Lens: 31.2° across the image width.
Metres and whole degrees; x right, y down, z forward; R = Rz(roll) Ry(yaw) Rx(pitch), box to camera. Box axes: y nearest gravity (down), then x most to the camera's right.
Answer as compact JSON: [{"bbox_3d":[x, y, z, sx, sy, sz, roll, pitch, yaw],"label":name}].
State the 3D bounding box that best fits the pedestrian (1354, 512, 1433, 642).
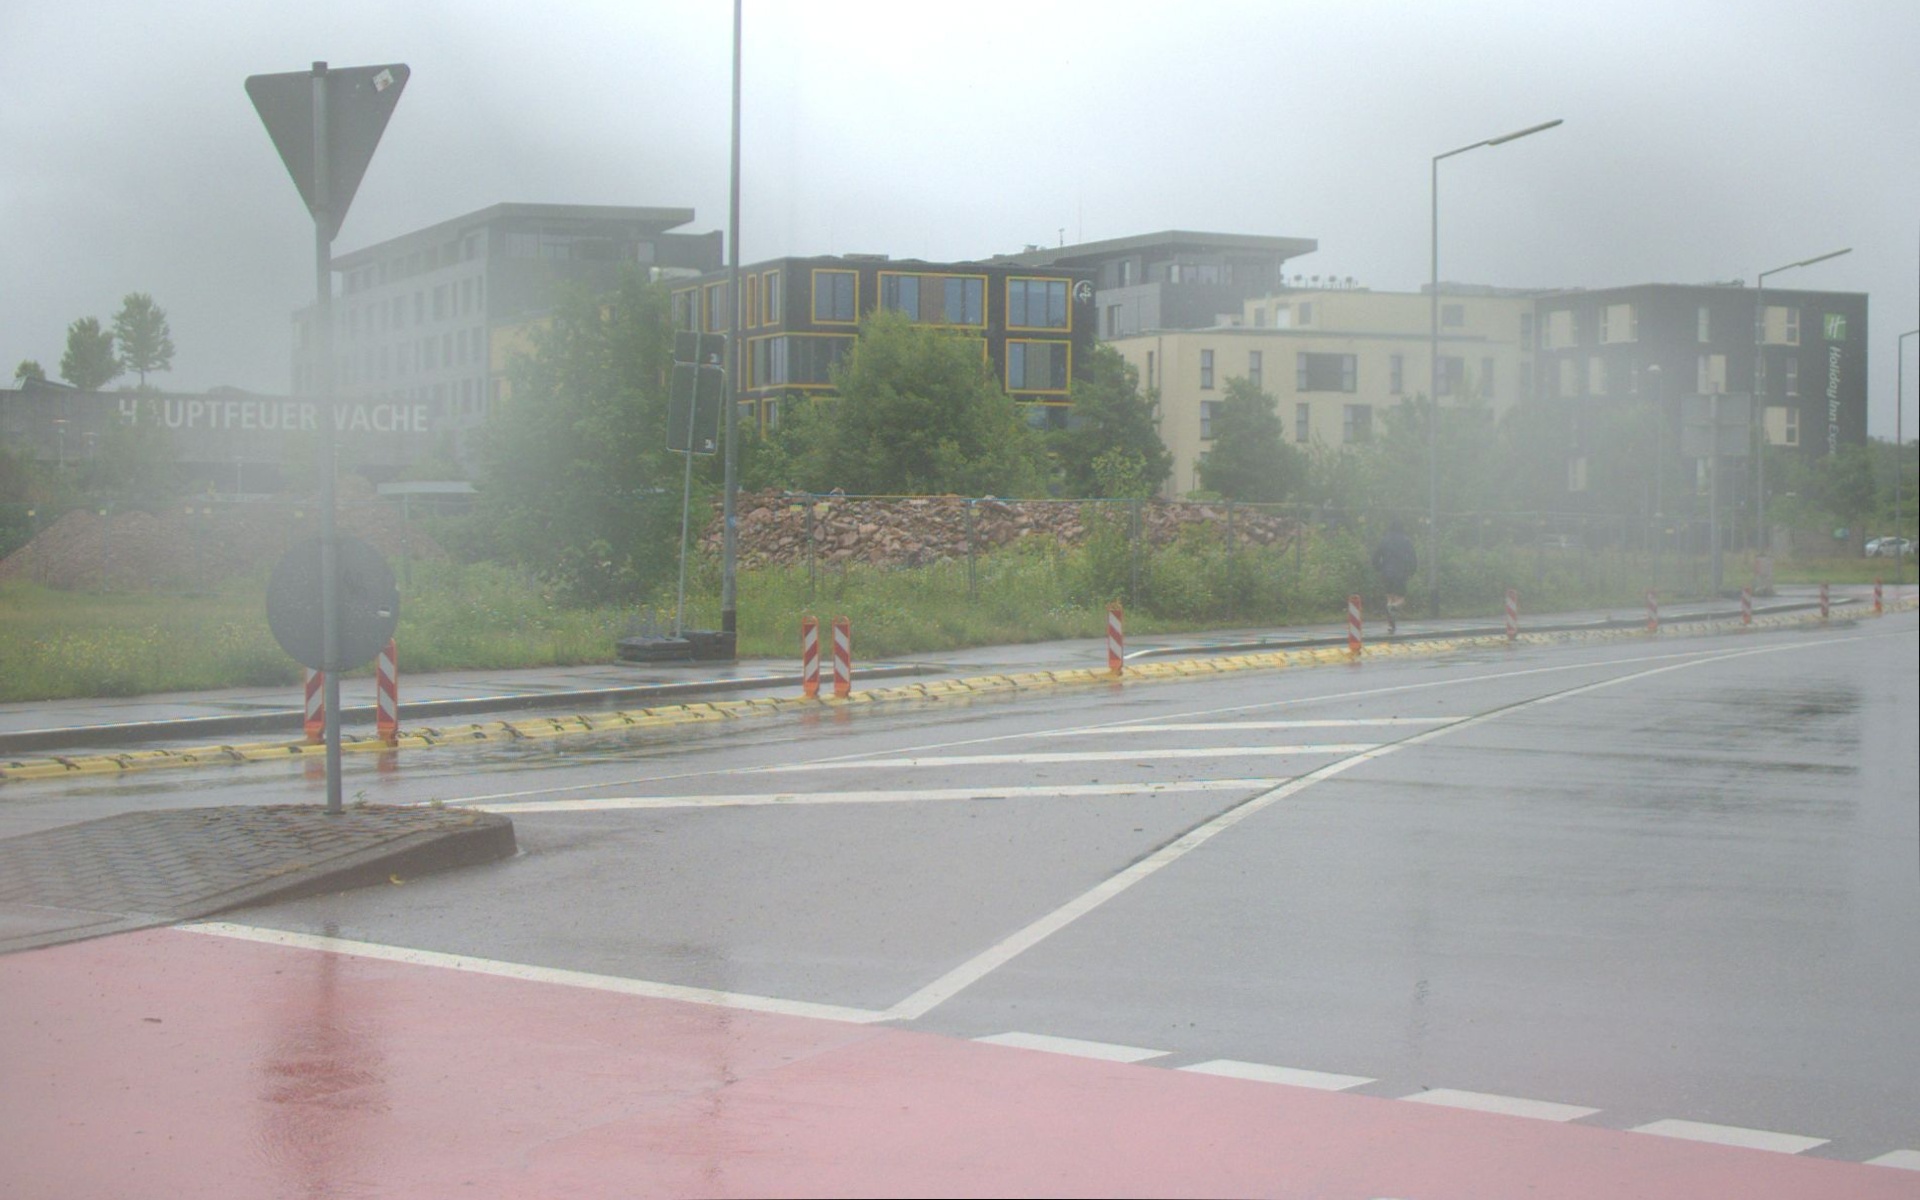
[{"bbox_3d":[6.848,-0.356,54.307,0.847,2.007,1.130,1,-2,28],"label":"pedestrian"}]
